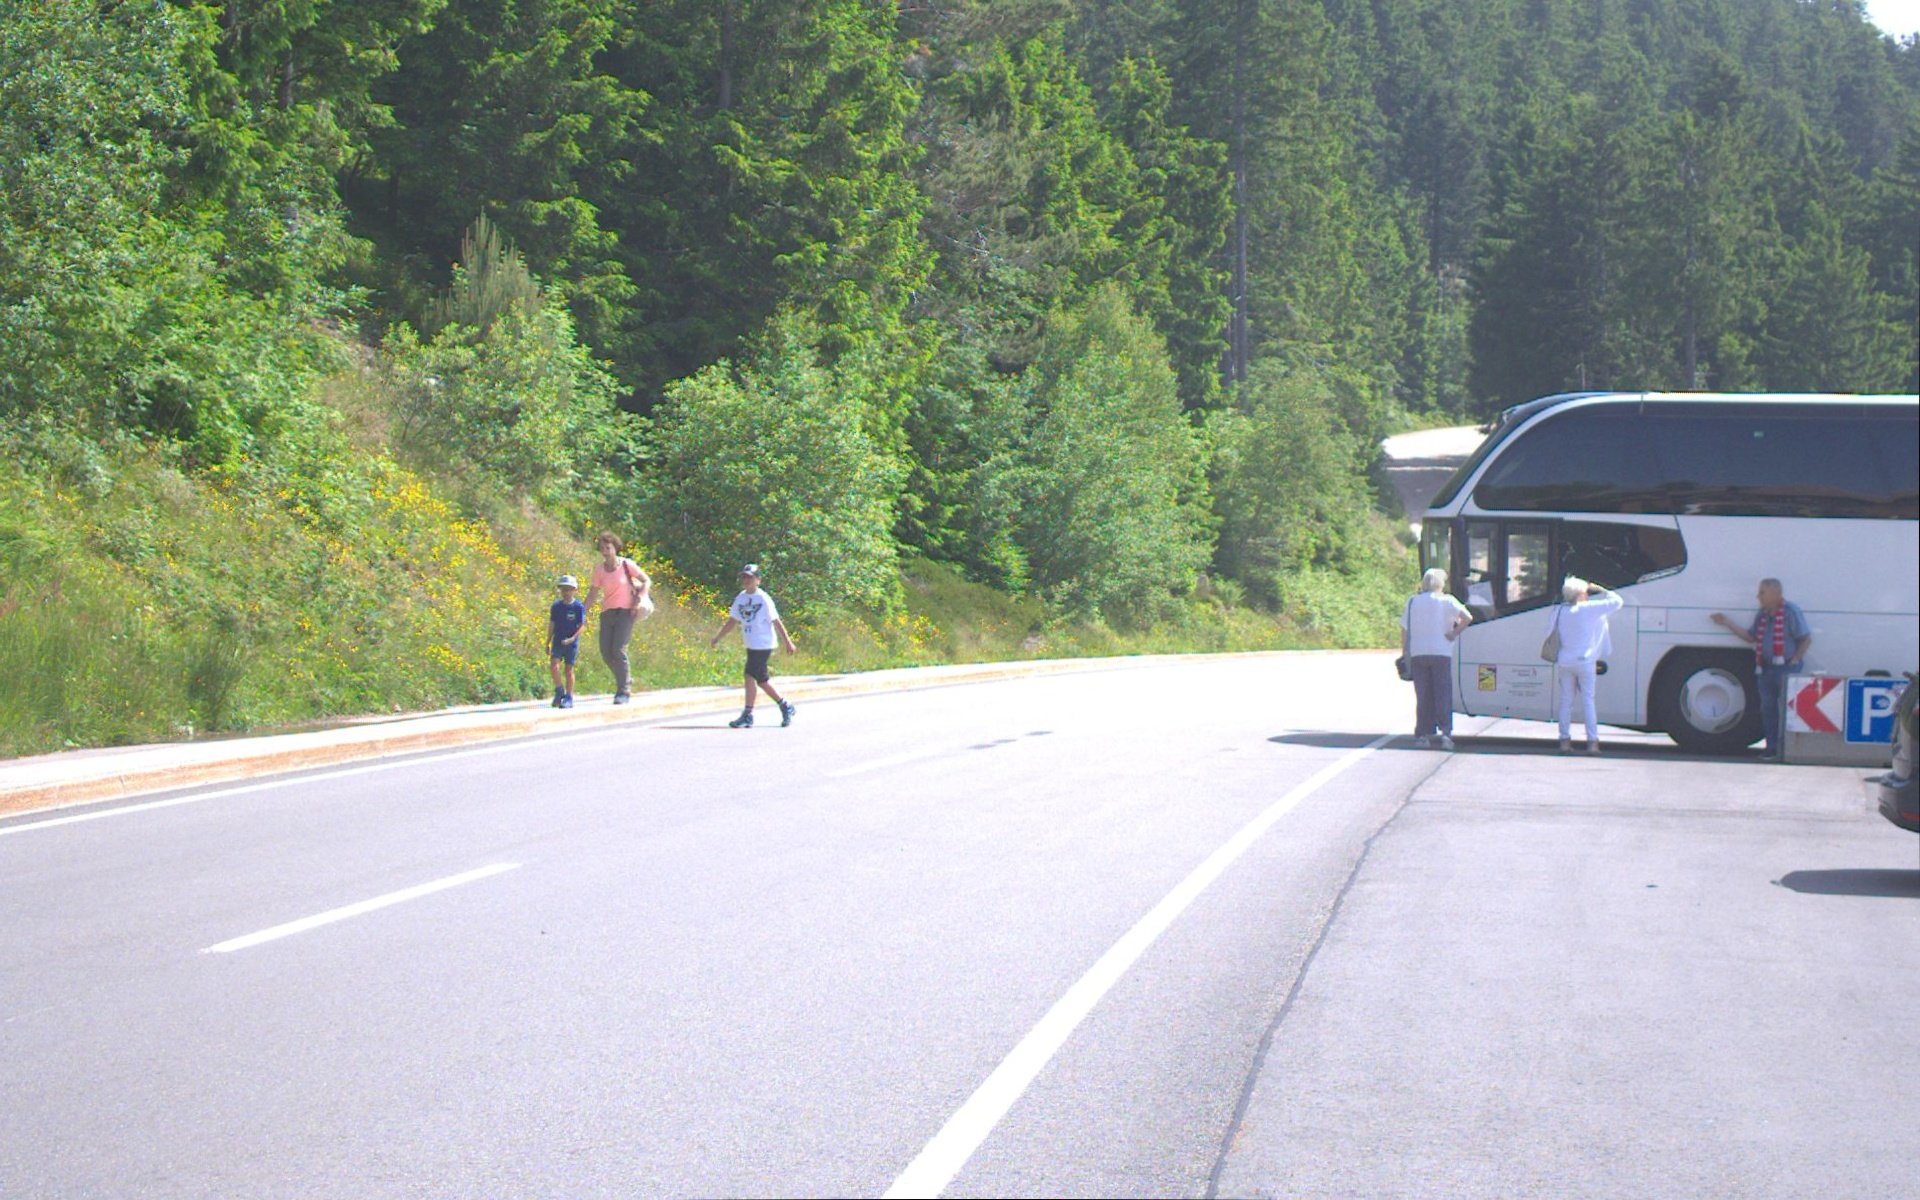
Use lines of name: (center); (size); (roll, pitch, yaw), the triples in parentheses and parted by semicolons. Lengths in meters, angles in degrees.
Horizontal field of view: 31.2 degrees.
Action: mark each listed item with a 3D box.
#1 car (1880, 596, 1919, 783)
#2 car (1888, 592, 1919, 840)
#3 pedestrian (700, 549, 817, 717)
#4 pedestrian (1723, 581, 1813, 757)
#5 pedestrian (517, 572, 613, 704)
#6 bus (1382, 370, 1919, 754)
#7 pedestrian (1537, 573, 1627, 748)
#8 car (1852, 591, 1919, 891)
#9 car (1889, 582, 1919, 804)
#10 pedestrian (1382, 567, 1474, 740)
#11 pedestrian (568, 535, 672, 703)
car: (9.609, 0.721, 27.721); (3.988, 1.444, 1.861); (1, 1, 6)
car: (7.680, 0.707, 20.308); (3.988, 1.444, 1.861); (1, 1, 6)
pedestrian: (-1.935, 0.304, 32.975); (0.853, 1.579, 0.818); (0, 1, -28)
pedestrian: (7.406, 0.619, 31.490); (0.770, 1.579, 0.772); (1, 1, 14)
pedestrian: (-3.899, 0.370, 33.950); (0.781, 1.275, 0.736); (1, 1, 8)
bus: (10.764, -0.347, 32.483); (13.104, 3.520, 3.041); (1, 1, 17)
pedestrian: (5.732, 0.549, 31.666); (0.771, 1.579, 0.772); (1, 1, 13)
car: (6.719, 0.704, 17.475); (3.988, 1.444, 1.861); (1, 1, 6)
car: (8.578, 0.655, 23.602); (3.988, 1.502, 1.861); (1, 1, 6)
pedestrian: (4.374, 0.490, 32.093); (0.771, 1.579, 0.772); (1, 1, 13)
pedestrian: (-3.447, 0.186, 34.933); (0.867, 1.677, 0.856); (1, 1, 8)
